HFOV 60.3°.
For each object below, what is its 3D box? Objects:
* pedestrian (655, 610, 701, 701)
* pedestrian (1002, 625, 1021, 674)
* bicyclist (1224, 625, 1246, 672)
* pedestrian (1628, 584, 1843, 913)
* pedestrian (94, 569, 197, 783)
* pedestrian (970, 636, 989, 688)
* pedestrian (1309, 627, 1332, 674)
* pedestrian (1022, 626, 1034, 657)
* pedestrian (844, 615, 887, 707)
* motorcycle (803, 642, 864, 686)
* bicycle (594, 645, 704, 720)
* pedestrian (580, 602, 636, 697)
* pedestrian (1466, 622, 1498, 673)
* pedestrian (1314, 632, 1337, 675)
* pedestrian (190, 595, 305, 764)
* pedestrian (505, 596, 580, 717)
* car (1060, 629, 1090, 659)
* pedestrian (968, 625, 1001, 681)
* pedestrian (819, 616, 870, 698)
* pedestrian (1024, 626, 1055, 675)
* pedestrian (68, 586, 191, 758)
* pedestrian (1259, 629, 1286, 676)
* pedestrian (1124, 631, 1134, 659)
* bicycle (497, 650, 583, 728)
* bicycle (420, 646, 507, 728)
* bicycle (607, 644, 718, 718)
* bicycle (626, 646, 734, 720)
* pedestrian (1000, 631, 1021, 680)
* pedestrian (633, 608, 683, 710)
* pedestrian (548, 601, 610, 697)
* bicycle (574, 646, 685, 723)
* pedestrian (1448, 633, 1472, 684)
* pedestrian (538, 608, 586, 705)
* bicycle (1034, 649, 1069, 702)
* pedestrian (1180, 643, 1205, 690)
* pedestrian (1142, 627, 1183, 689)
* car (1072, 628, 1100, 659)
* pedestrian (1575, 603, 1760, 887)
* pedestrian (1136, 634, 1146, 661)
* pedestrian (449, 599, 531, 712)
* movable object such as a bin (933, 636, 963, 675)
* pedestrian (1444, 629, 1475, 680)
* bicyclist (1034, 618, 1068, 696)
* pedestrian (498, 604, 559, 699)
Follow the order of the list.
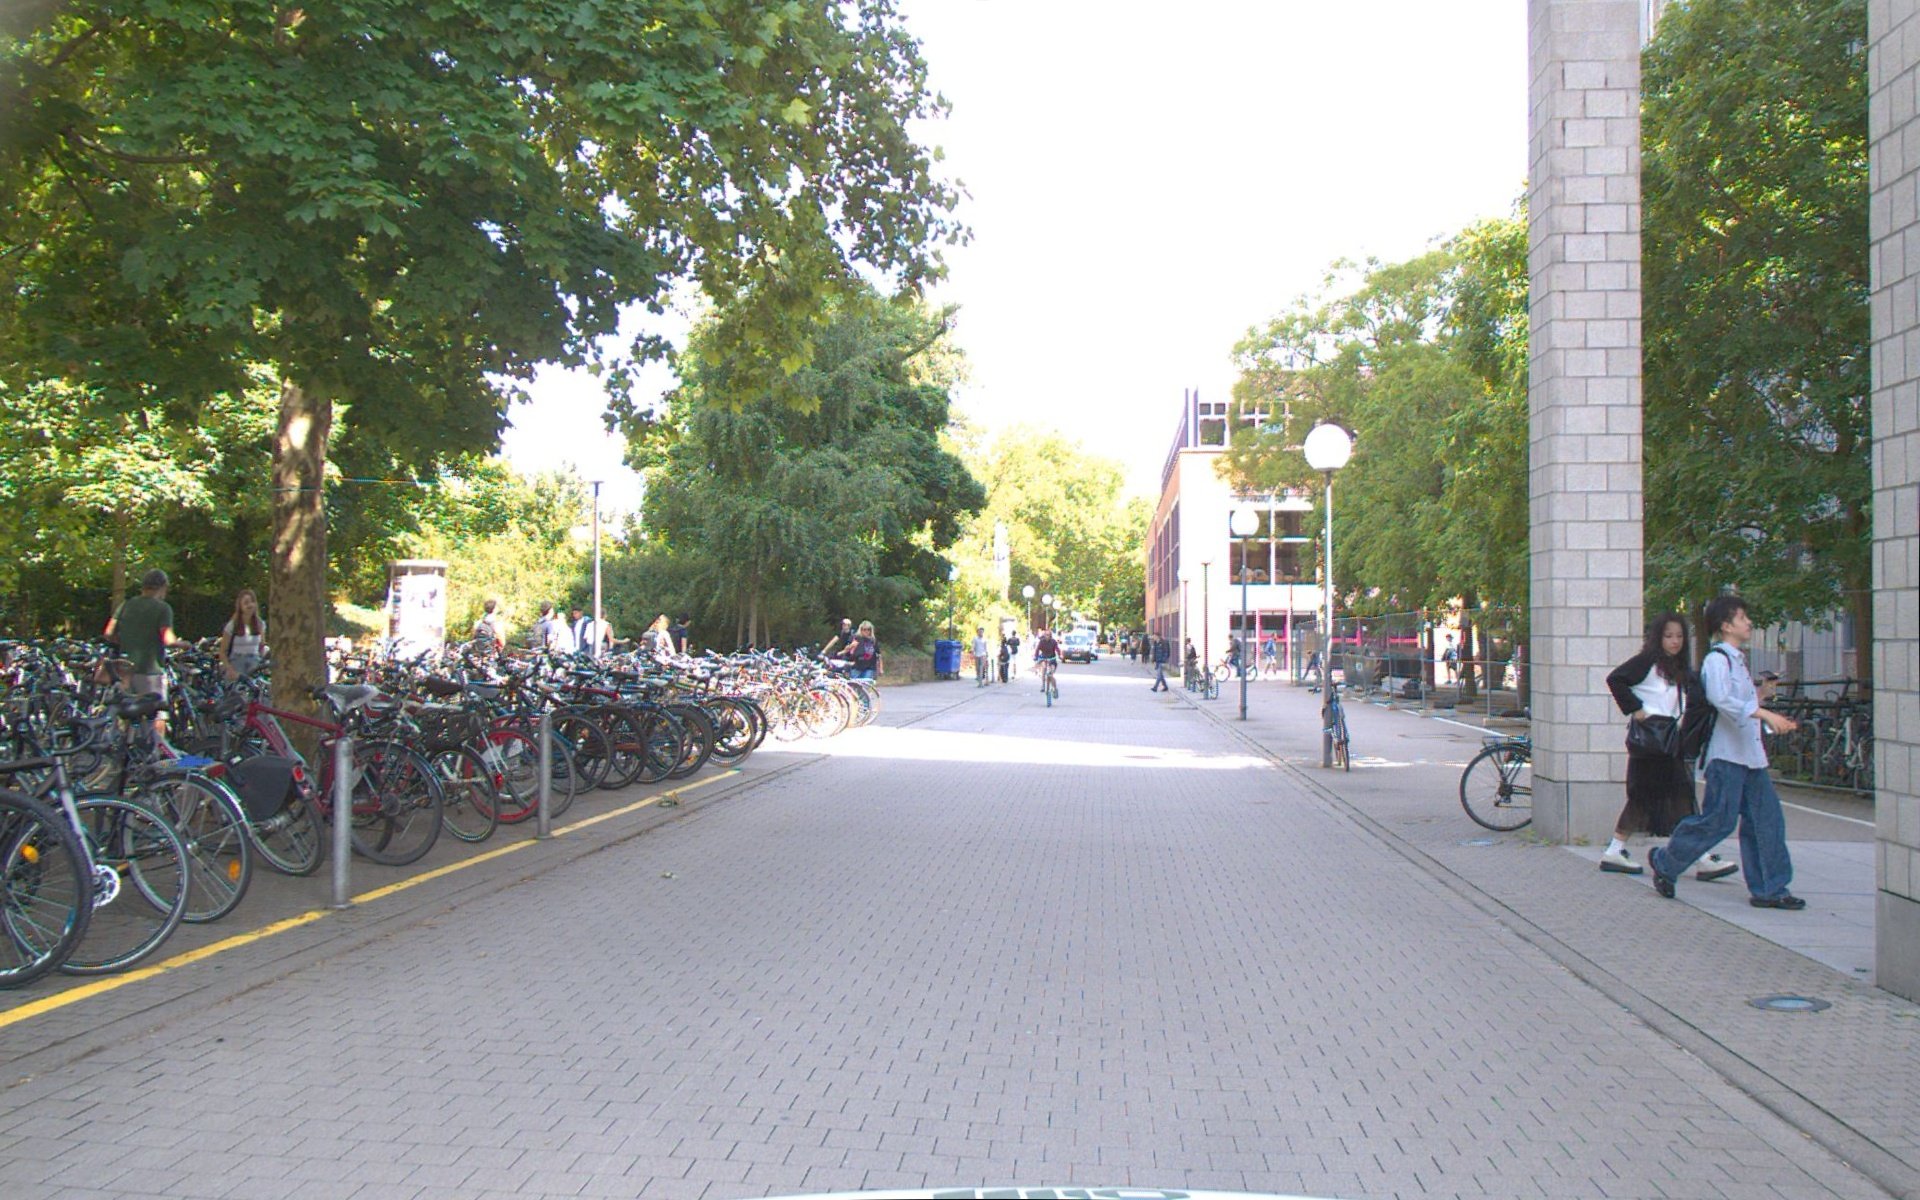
[{"bbox_3d":[-5.583,1.092,32.795,0.670,1.754,0.904,1,-1,3],"label":"pedestrian"},{"bbox_3d":[1.980,1.894,63.413,0.668,1.876,0.783,1,-2,5],"label":"pedestrian"},{"bbox_3d":[10.350,1.826,62.221,0.650,1.746,0.588,0,-2,25],"label":"bicyclist"},{"bbox_3d":[4.259,0.781,9.095,0.883,1.699,0.671,-2,-2,42],"label":"pedestrian"},{"bbox_3d":[-7.246,0.661,14.705,0.759,1.838,0.703,2,-1,-28],"label":"pedestrian"},{"bbox_3d":[0.720,2.302,61.479,0.668,1.906,1.121,1,-2,1],"label":"pedestrian"},{"bbox_3d":[14.458,2.021,66.338,0.808,1.876,0.685,1,-2,3],"label":"pedestrian"},{"bbox_3d":[4.104,2.518,100.131,0.668,1.876,0.783,1,-2,5],"label":"pedestrian"},{"bbox_3d":[-1.785,1.131,31.228,0.753,1.709,0.906,0,-1,-7],"label":"pedestrian"},{"bbox_3d":[-3.379,1.694,43.914,0.470,1.065,1.995,2,-1,-42],"label":"motorcycle"},{"bbox_3d":[-4.771,1.254,25.351,1.660,1.102,0.474,0,-2,25],"label":"bicycle"},{"bbox_3d":[-6.576,0.910,30.869,0.922,1.754,0.672,0,-1,-24],"label":"pedestrian"},{"bbox_3d":[17.960,1.639,56.939,0.883,1.759,0.684,0,-4,0],"label":"pedestrian"},{"bbox_3d":[14.479,2.118,65.591,0.764,1.649,0.685,1,-2,3],"label":"pedestrian"},{"bbox_3d":[-7.556,0.822,17.549,0.890,1.733,0.766,0,-2,39],"label":"pedestrian"},{"bbox_3d":[-6.604,0.882,26.169,0.673,1.867,0.936,-1,-1,39],"label":"pedestrian"},{"bbox_3d":[6.938,2.618,99.456,1.752,1.793,4.483,0,-1,5],"label":"car"},{"bbox_3d":[0.839,1.811,56.571,0.771,1.877,1.112,2,-1,-19],"label":"pedestrian"},{"bbox_3d":[-2.645,1.304,37.948,0.603,1.868,1.044,-1,-2,40],"label":"pedestrian"},{"bbox_3d":[3.178,2.027,66.097,0.712,1.914,1.077,-1,-3,38],"label":"pedestrian"},{"bbox_3d":[-8.612,0.735,17.183,0.751,1.733,0.907,1,-1,3],"label":"pedestrian"},{"bbox_3d":[11.902,1.994,63.026,0.883,1.759,0.684,-1,-4,21],"label":"pedestrian"},{"bbox_3d":[10.338,2.750,101.027,0.574,1.702,0.818,-1,-3,6],"label":"pedestrian"},{"bbox_3d":[-6.268,1.308,24.637,0.470,1.102,1.672,3,-2,-43],"label":"bicycle"},{"bbox_3d":[-7.129,1.234,23.717,0.470,1.102,1.672,3,-2,-43],"label":"bicycle"},{"bbox_3d":[-4.653,1.255,25.861,1.682,1.102,0.474,1,-2,20],"label":"bicycle"},{"bbox_3d":[-4.471,1.308,26.403,1.658,1.130,0.474,1,-2,17],"label":"bicycle"},{"bbox_3d":[1.741,1.897,56.800,0.558,1.639,0.916,1,-2,-8],"label":"pedestrian"},{"bbox_3d":[-5.302,1.024,29.079,0.670,1.754,0.731,1,-1,3],"label":"pedestrian"},{"bbox_3d":[-7.485,0.960,32.516,0.814,1.847,0.883,1,-1,16],"label":"pedestrian"},{"bbox_3d":[-4.974,1.260,24.898,1.660,1.102,0.474,0,-2,25],"label":"bicycle"},{"bbox_3d":[18.120,2.110,59.976,0.750,1.826,0.588,-1,-3,12],"label":"pedestrian"},{"bbox_3d":[-7.308,1.026,30.376,0.677,1.754,0.723,0,-1,-31],"label":"pedestrian"},{"bbox_3d":[2.075,1.716,37.803,0.755,1.170,2.108,0,-2,2],"label":"bicycle"},{"bbox_3d":[8.441,2.405,59.991,0.834,1.680,0.588,1,-2,13],"label":"pedestrian"},{"bbox_3d":[6.397,1.825,52.212,0.870,1.890,1.029,1,-2,33],"label":"pedestrian"},{"bbox_3d":[8.655,2.954,113.030,1.844,2.009,5.217,0,-1,5],"label":"car"},{"bbox_3d":[4.330,0.850,10.131,0.799,1.646,0.731,1,-2,-37],"label":"pedestrian"},{"bbox_3d":[11.246,2.945,102.536,0.574,1.702,0.818,-1,-3,6],"label":"pedestrian"},{"bbox_3d":[-7.507,0.870,26.454,0.705,1.754,1.060,-1,-1,37],"label":"pedestrian"},{"bbox_3d":[-0.414,1.971,59.022,0.694,1.360,1.240,3,-1,15],"label":"movable object such as a bin"},{"bbox_3d":[17.597,1.927,58.310,0.883,1.759,0.684,0,-4,0],"label":"pedestrian"},{"bbox_3d":[2.075,1.300,37.797,0.755,1.746,0.911,0,-2,2],"label":"bicyclist"},{"bbox_3d":[-8.449,1.003,32.437,0.751,1.835,0.984,1,-1,13],"label":"pedestrian"}]
